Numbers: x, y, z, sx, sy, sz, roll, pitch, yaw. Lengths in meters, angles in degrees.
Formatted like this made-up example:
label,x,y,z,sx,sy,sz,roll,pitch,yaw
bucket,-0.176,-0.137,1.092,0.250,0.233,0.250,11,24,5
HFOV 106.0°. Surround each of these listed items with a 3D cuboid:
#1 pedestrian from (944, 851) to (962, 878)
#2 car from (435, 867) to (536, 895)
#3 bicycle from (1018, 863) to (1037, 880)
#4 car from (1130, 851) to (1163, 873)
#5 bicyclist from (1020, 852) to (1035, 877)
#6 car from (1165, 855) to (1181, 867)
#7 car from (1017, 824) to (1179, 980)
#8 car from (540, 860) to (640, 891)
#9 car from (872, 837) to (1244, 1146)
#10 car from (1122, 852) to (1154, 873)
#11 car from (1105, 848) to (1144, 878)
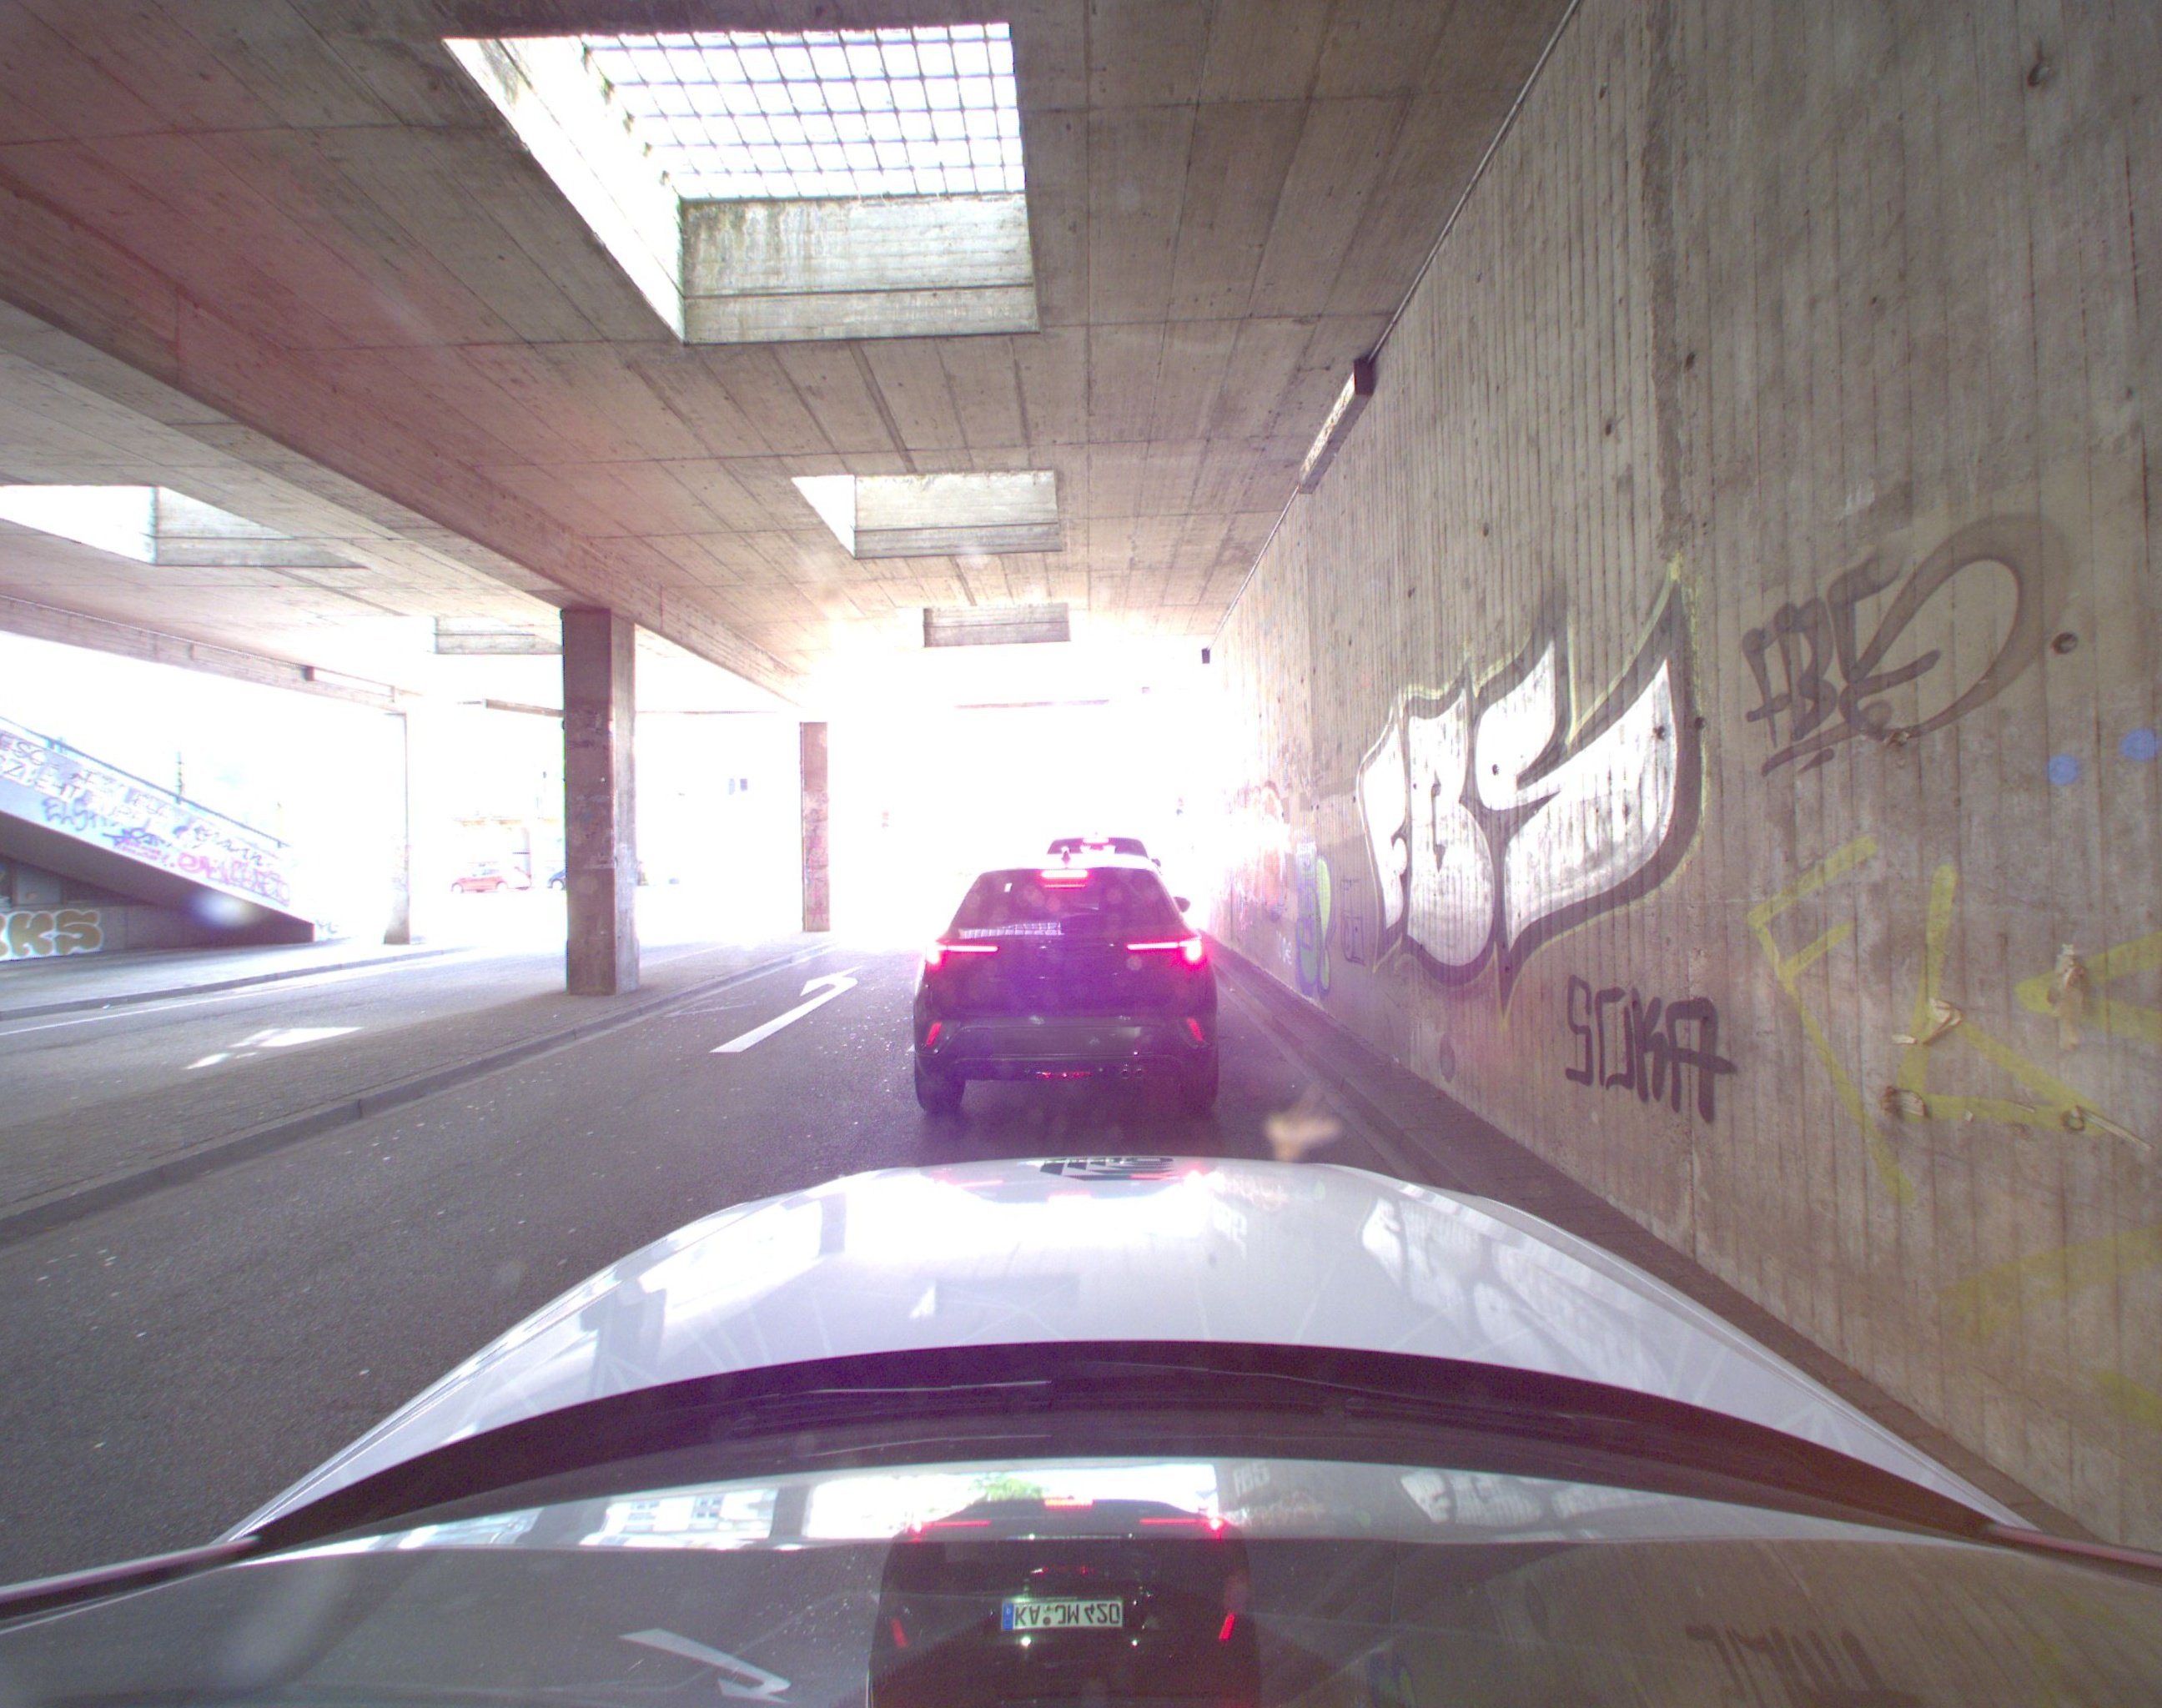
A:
label,x,y,z,sx,sy,sz,roll,pitch,yaw
pedestrian,-9.791,0.826,62.383,0.986,2.013,1.091,-2,0,10
car,-33.019,1.471,45.232,3.970,1.374,2.192,-2,0,3
bicycle,-3.395,1.108,51.734,0.727,1.067,1.694,-1,-1,11
car,5.583,0.694,69.027,2.206,1.719,4.474,-2,-2,12
bicyclist,-3.385,0.651,51.769,0.724,1.581,0.817,-1,-1,11
car,13.085,1.058,115.997,1.981,1.662,4.012,-1,-1,11
car,0.275,0.592,11.998,1.938,1.860,3.966,-2,0,2
car,-27.215,1.181,45.232,4.114,1.550,2.268,-2,0,1
car,-0.058,0.709,6.178,1.875,1.538,3.966,-2,0,2
car,4.400,0.648,62.241,1.955,1.497,3.908,-2,-2,11
car,2.401,0.505,44.256,1.959,1.497,3.900,-2,-2,4
